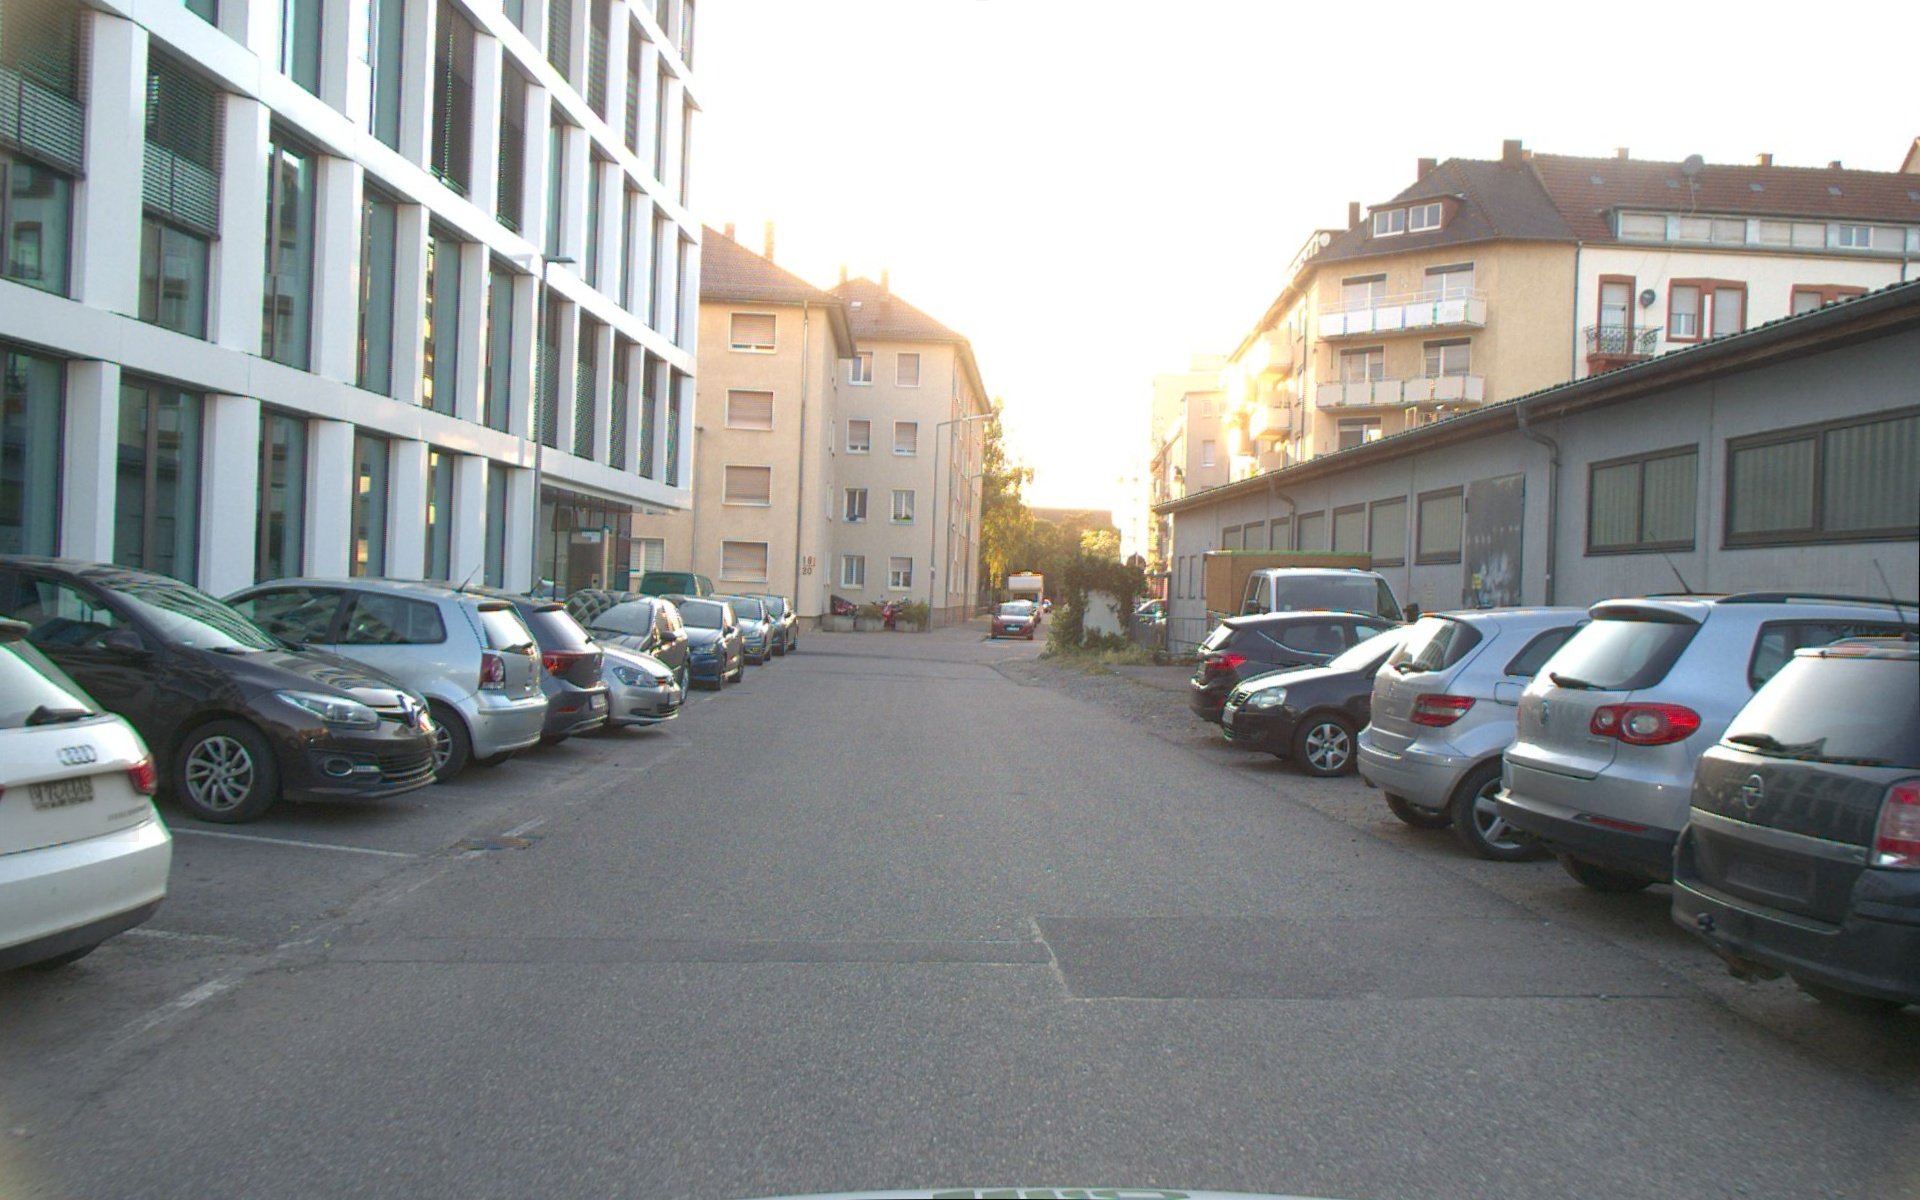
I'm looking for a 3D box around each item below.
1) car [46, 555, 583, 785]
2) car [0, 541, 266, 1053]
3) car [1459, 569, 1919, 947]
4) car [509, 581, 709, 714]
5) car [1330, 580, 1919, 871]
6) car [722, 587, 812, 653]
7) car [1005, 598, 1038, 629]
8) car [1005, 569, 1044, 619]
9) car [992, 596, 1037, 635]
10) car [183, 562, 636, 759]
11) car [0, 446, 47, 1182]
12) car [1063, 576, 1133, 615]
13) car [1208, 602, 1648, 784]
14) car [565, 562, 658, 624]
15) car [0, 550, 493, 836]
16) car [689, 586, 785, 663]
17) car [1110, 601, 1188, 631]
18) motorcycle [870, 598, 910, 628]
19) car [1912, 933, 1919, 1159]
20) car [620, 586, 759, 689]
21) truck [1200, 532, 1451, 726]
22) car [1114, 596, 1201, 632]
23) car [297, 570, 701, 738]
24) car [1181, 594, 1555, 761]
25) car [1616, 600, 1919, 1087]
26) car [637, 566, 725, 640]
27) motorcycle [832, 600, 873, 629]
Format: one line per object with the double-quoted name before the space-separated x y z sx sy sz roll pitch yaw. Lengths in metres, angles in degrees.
"car" -5.072 0.517 13.329 3.579 1.537 1.688 3 0 2
"car" -4.605 0.502 5.753 3.589 1.537 1.697 3 0 5
"car" 4.832 0.782 8.499 3.905 1.647 1.826 3 0 -4
"car" -4.585 0.575 22.218 1.615 1.463 4.202 5 0 1
"car" 4.723 0.798 11.245 3.903 1.637 1.938 3 0 -2
"car" -5.029 0.492 43.530 1.744 1.504 4.331 5 0 0
"car" 3.052 0.652 82.797 1.582 1.499 3.505 0 0 1
"car" 4.522 -0.383 115.117 2.565 3.326 7.700 0 0 3
"car" 2.286 0.637 69.662 1.807 1.499 4.079 2 0 1
"car" -5.043 0.523 15.467 3.579 1.537 1.688 3 0 2
"car" -4.568 0.393 3.155 4.522 1.735 2.006 3 1 5
"car" 9.979 -0.300 119.652 4.744 2.765 2.124 0 0 41
"car" 4.433 0.861 16.058 3.684 1.469 1.844 3 -1 -2
"car" -10.114 -0.158 48.320 1.743 1.577 4.330 2 -2 0
"car" -5.282 0.509 10.750 3.882 1.537 1.796 3 1 3
"car" -5.029 0.520 37.773 1.676 1.504 4.182 5 0 -3
"car" 10.613 0.883 92.854 4.234 1.666 1.818 0 -1 2
"motorcycle" -2.854 0.524 67.776 0.675 1.180 2.031 2 0 27
"car" 4.614 0.813 3.457 4.116 1.529 1.890 3 -1 1
"car" -4.479 0.578 27.957 1.615 1.463 4.184 5 0 -1
"truck" 4.764 0.340 22.538 2.055 2.239 5.710 2 0 0
"car" 10.794 0.762 90.562 4.623 1.943 2.060 0 -1 2
"car" -4.941 0.547 18.056 3.845 1.537 1.688 3 0 2
"car" 4.461 0.822 18.528 3.682 1.562 1.892 3 1 1
"car" 4.694 0.851 5.957 3.902 1.470 1.827 3 -1 0
"car" -8.115 0.043 48.464 1.761 2.014 4.689 2 1 -1
"motorcycle" -4.250 0.570 65.284 0.709 1.098 2.080 2 0 23
